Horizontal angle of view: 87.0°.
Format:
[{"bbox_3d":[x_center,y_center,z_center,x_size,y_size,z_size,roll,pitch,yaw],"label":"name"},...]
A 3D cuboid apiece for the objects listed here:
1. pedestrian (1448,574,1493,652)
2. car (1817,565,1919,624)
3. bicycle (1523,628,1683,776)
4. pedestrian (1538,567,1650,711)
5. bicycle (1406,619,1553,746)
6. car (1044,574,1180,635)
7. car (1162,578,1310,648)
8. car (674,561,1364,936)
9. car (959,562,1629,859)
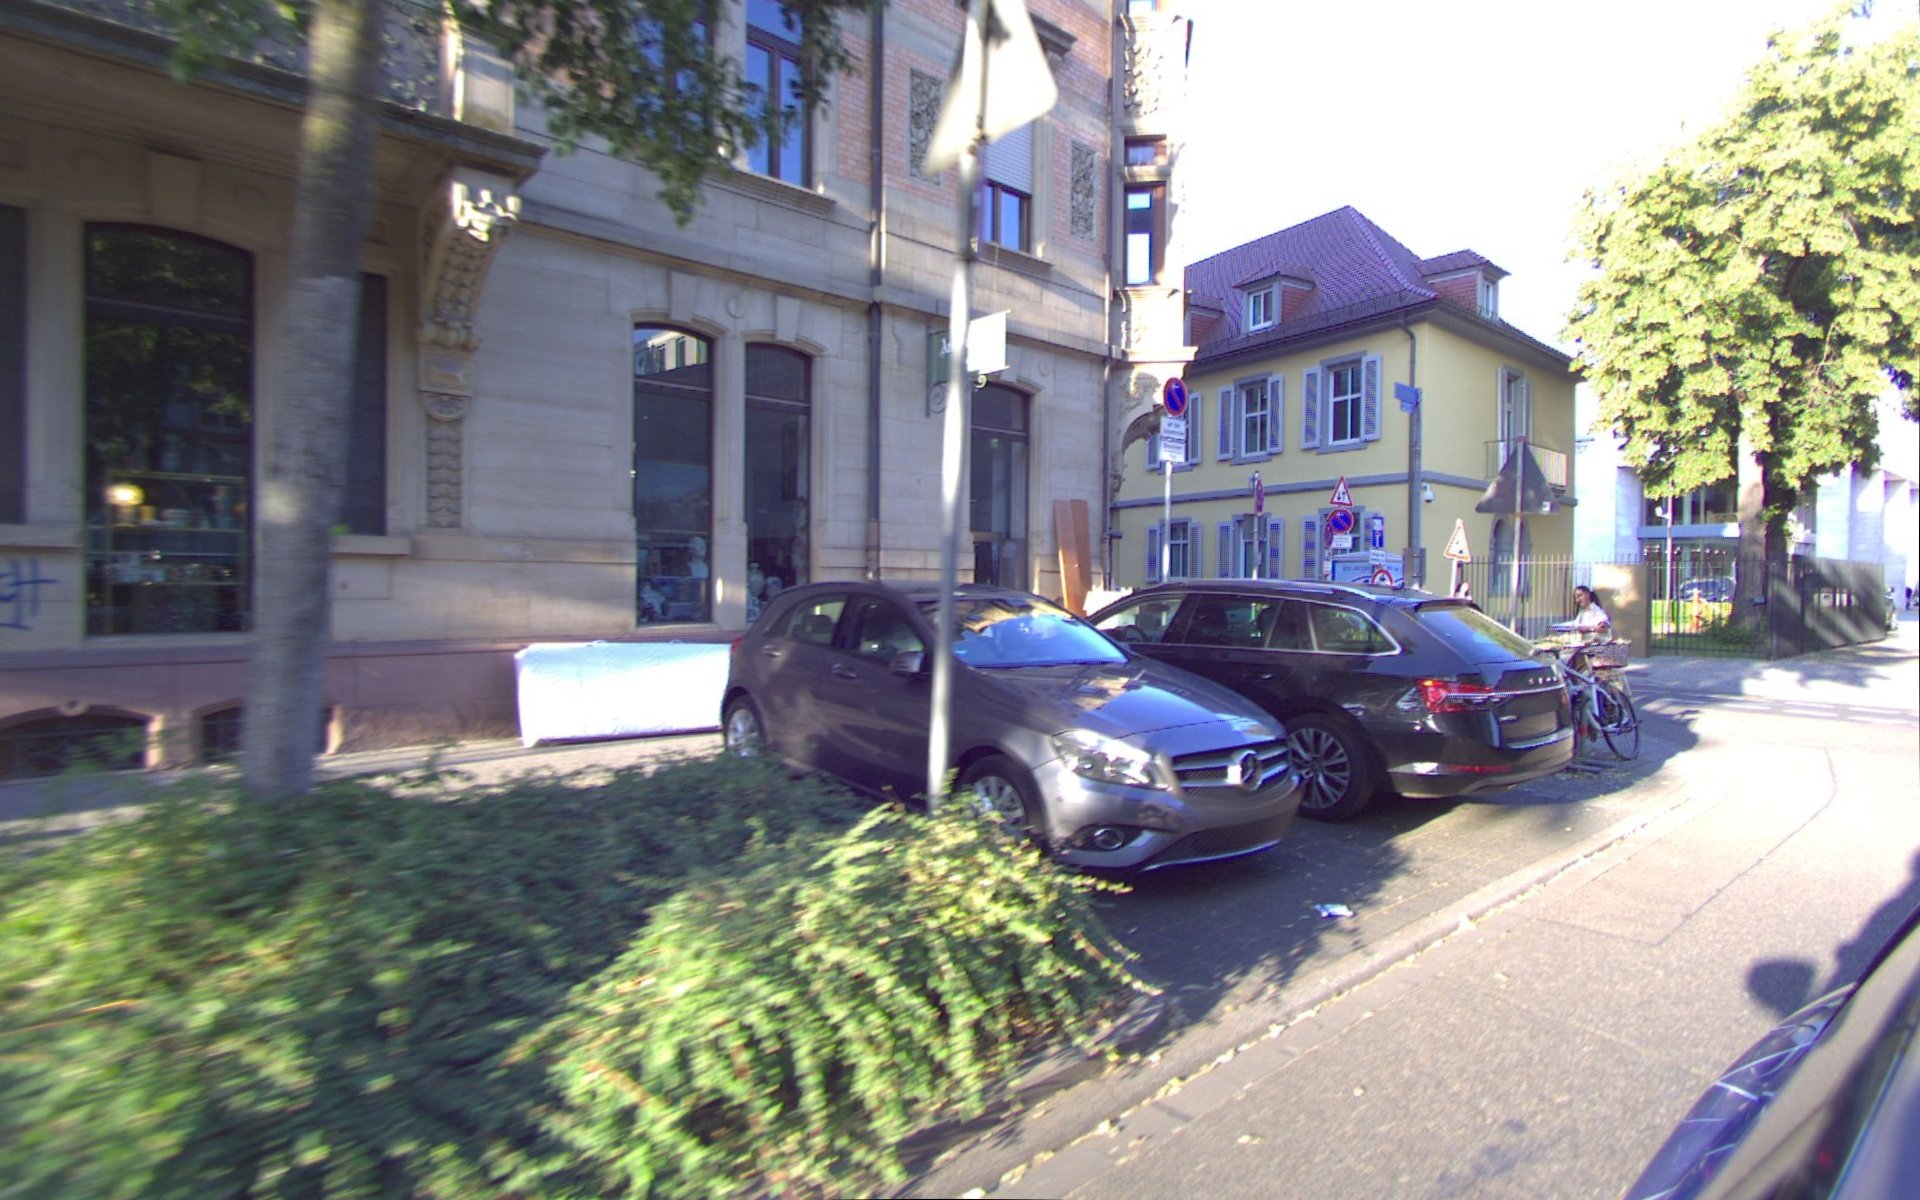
[{"bbox_3d":[10.711,0.258,21.237,0.459,1.614,0.674,0,1,-28],"label":"pedestrian"},{"bbox_3d":[30.017,-0.235,33.357,3.987,1.757,1.710,-1,4,-35],"label":"car"},{"bbox_3d":[5.419,0.799,8.492,1.799,1.060,0.571,0,2,-39],"label":"bicycle"},{"bbox_3d":[7.631,0.449,12.211,0.943,1.679,0.638,0,1,7],"label":"pedestrian"},{"bbox_3d":[4.912,0.722,9.518,1.801,1.026,0.638,-1,2,-42],"label":"bicycle"},{"bbox_3d":[4.101,0.092,27.955,1.514,1.539,3.983,1,1,-31],"label":"car"},{"bbox_3d":[6.524,0.270,24.191,1.514,1.539,3.225,1,1,-31],"label":"car"},{"bbox_3d":[-0.027,0.527,6.493,1.834,1.497,4.537,-1,3,-39],"label":"car"},{"bbox_3d":[2.179,0.513,7.729,1.878,1.529,4.536,-1,3,-41],"label":"car"}]
